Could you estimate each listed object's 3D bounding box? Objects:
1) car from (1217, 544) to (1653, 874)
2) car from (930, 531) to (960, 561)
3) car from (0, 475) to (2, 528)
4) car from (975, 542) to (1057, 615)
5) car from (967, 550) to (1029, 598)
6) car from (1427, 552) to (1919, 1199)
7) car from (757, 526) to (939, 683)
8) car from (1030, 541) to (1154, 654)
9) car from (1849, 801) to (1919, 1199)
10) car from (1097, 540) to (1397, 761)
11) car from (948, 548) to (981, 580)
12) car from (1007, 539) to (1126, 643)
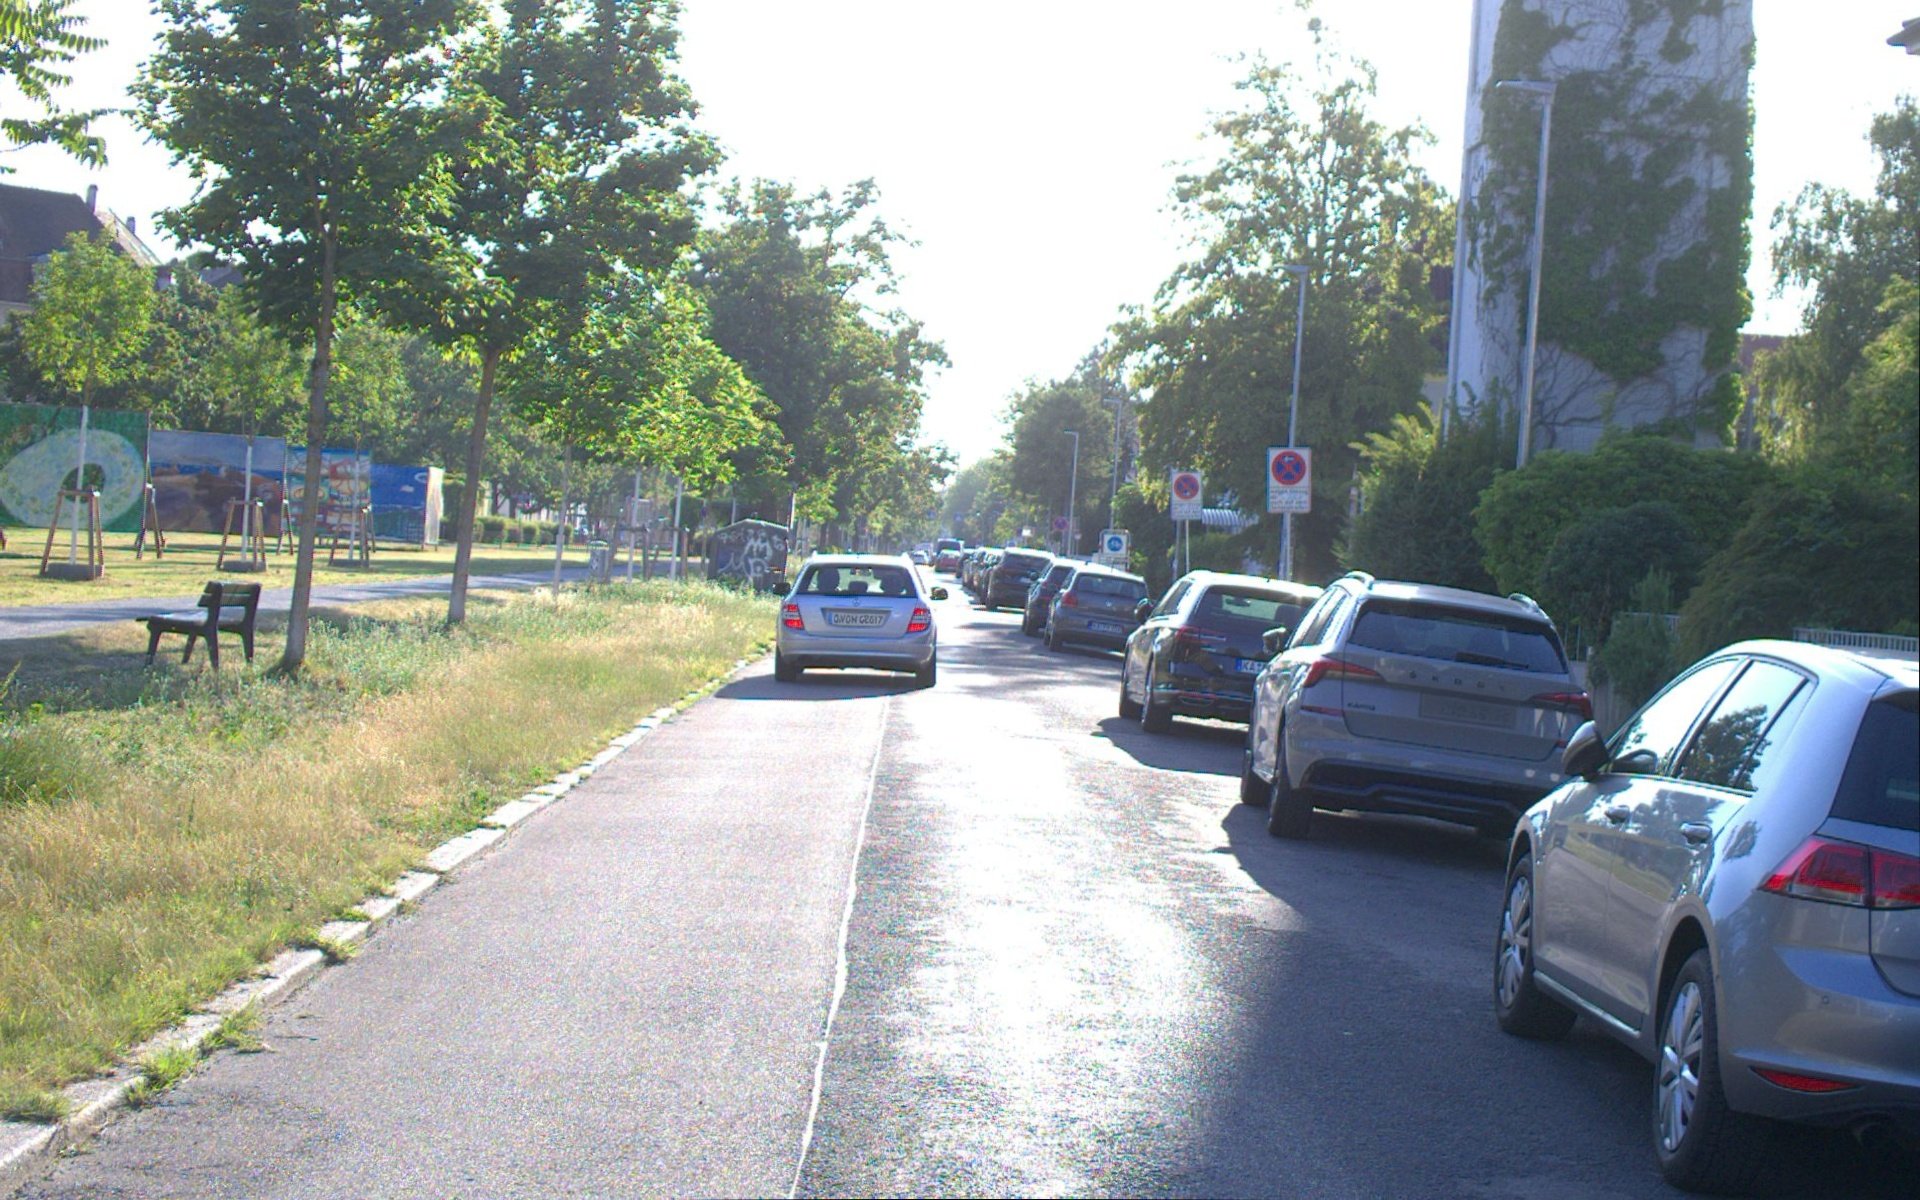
[{"bbox_3d":[2.712,0.593,20.657,1.883,1.531,4.461,7,0,1],"label":"car"},{"bbox_3d":[-1.103,-3.912,248.814,1.988,2.016,4.000,4,1,0],"label":"car"},{"bbox_3d":[-35.907,-3.614,123.364,1.889,1.910,4.327,1,0,-1],"label":"car"},{"bbox_3d":[1.472,-0.570,92.393,1.832,1.726,5.032,7,0,-1],"label":"car"},{"bbox_3d":[1.327,-0.918,120.106,1.994,1.457,4.561,6,1,1],"label":"car"},{"bbox_3d":[2.784,0.808,10.303,1.911,1.554,4.567,8,2,-1],"label":"car"},{"bbox_3d":[-1.202,0.009,38.425,1.823,1.561,4.000,3,1,0],"label":"car"},{"bbox_3d":[2.154,-0.076,57.077,1.687,1.522,4.175,8,2,0],"label":"car"},{"bbox_3d":[2.882,0.941,5.017,1.763,1.430,4.304,10,0,-2],"label":"car"},{"bbox_3d":[2.528,0.420,31.527,1.993,1.592,4.886,8,0,-2],"label":"car"},{"bbox_3d":[0.241,-1.993,190.610,1.721,1.591,4.000,4,0,0],"label":"car"},{"bbox_3d":[1.943,-0.210,63.951,1.822,1.555,4.622,10,1,0],"label":"car"}]
